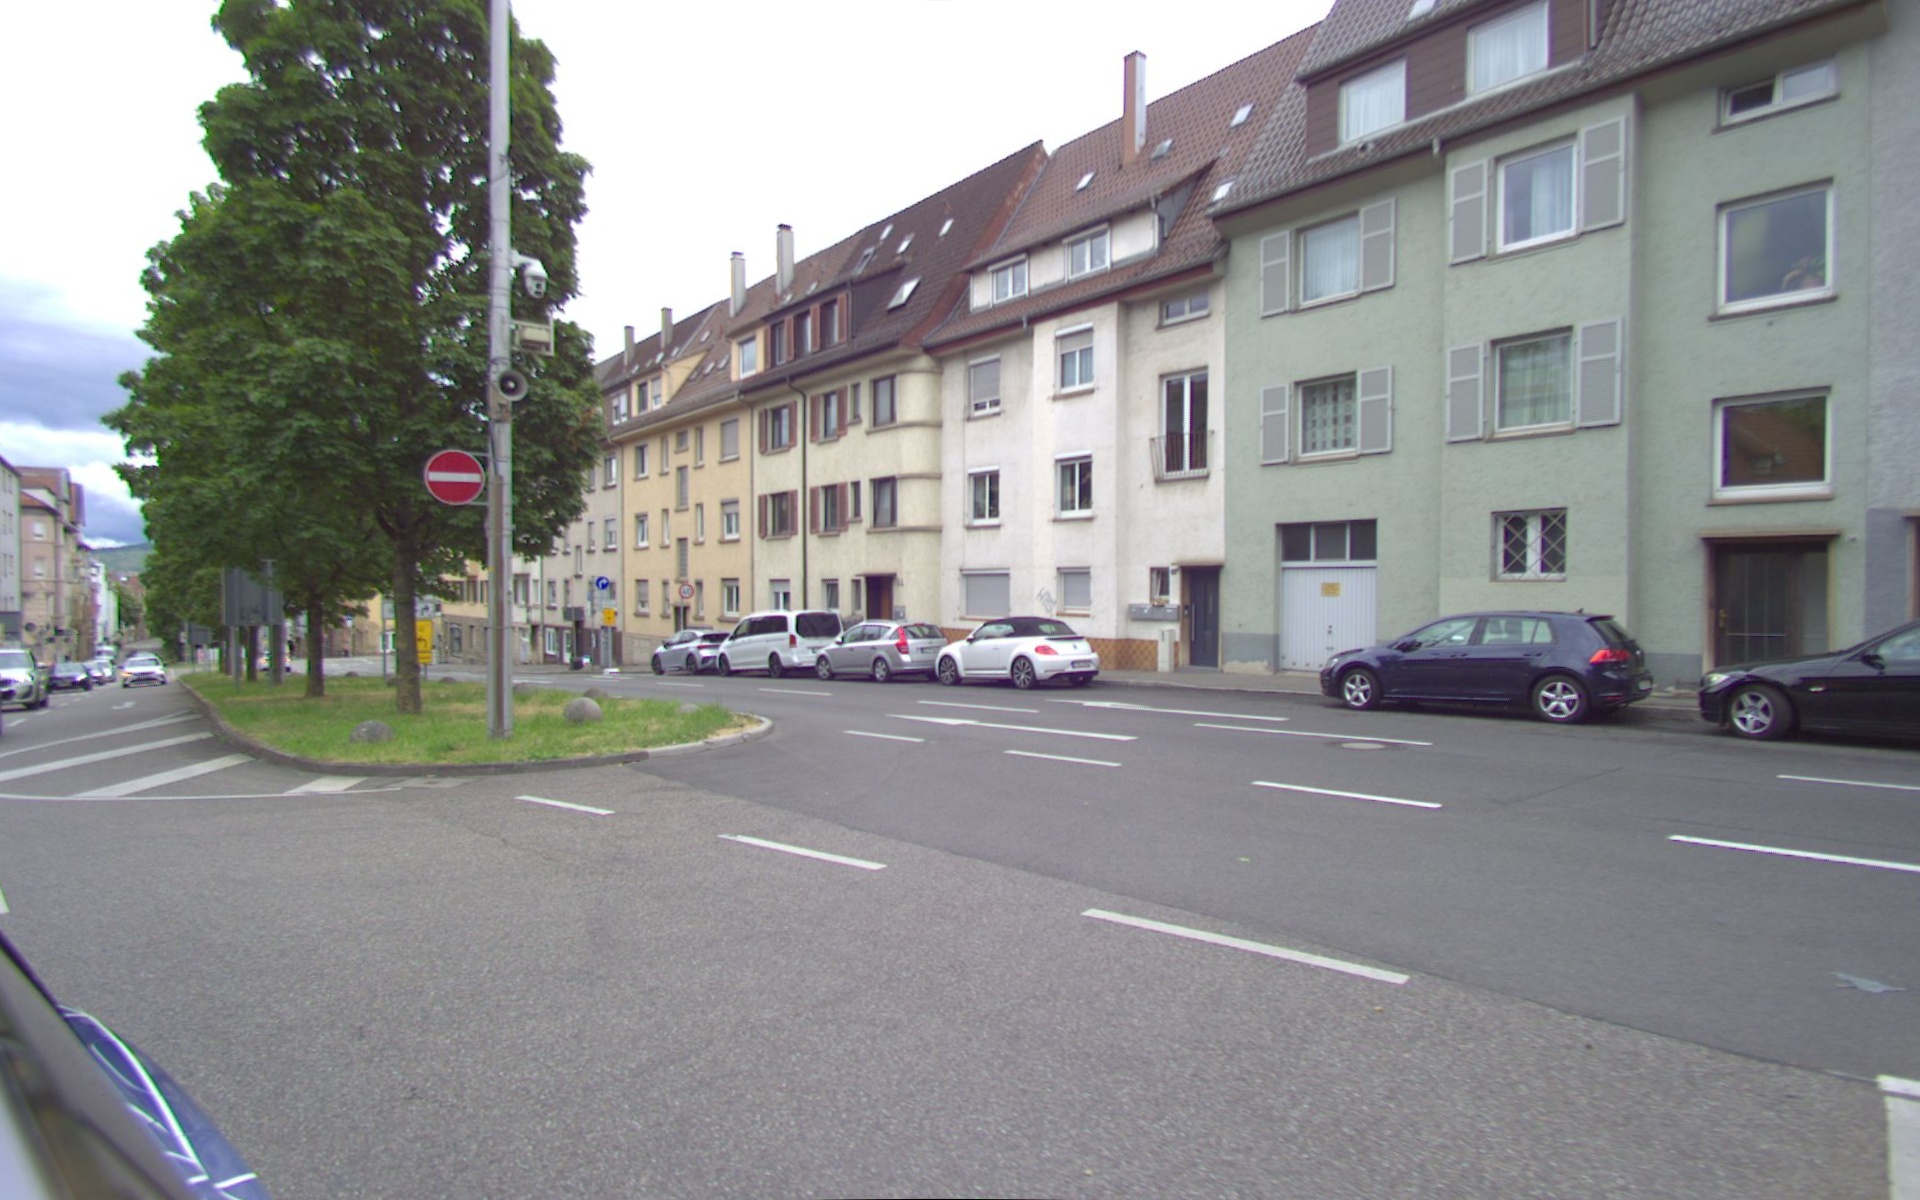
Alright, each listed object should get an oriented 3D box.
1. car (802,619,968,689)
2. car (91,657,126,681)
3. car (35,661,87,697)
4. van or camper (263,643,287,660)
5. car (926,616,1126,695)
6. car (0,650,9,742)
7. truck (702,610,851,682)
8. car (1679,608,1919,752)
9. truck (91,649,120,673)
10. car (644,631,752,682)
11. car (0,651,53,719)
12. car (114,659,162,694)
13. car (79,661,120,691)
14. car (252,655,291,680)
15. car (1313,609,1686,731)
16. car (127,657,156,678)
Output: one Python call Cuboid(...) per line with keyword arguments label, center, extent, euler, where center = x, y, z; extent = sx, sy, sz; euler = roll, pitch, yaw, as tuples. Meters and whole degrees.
Cuboid(label="car", center=(-1.982, 1.359, 25.566), extent=(1.968, 1.564, 4.389), euler=(0, -3, -39))
Cuboid(label="car", center=(-59.815, 4.827, 71.084), extent=(1.757, 1.605, 3.539), euler=(2, -3, -40))
Cuboid(label="car", center=(-43.200, 3.768, 48.702), extent=(1.757, 1.605, 3.539), euler=(2, -3, -40))
Cuboid(label="van or camper", center=(-77.453, 5.799, 114.425), extent=(1.883, 1.775, 4.663), euler=(-1, -2, -38))
Cuboid(label="car", center=(1.317, 1.181, 21.791), extent=(1.968, 1.485, 4.166), euler=(0, -3, -38))
Cuboid(label="car", center=(-15.561, 1.522, 15.187), extent=(1.580, 1.468, 3.690), euler=(-3, -1, -40))
Cuboid(label="truck", center=(-5.574, 1.391, 30.124), extent=(1.968, 1.935, 5.356), euler=(0, -3, -39))
Cuboid(label="car", center=(10.372, 0.775, 10.348), extent=(1.968, 1.411, 4.526), euler=(0, -2, -38))
Cuboid(label="truck", center=(-111.231, 7.993, 131.813), extent=(2.513, 2.930, 7.793), euler=(0, -3, -37))
Cuboid(label="car", center=(-9.010, 1.934, 34.572), extent=(1.968, 1.564, 4.165), euler=(0, -3, -39))
Cuboid(label="car", center=(-25.284, 2.286, 26.691), extent=(1.753, 1.619, 4.170), euler=(-4, -1, -39))
Cuboid(label="car", center=(-40.774, 3.766, 50.176), extent=(1.757, 1.605, 3.539), euler=(2, -3, -40))
Cuboid(label="car", center=(-51.021, 4.481, 60.004), extent=(1.757, 1.605, 3.539), euler=(2, -3, -40))
Cuboid(label="car", center=(-45.497, 4.455, 66.872), extent=(1.723, 1.478, 4.593), euler=(-1, -3, -39))
Cuboid(label="car", center=(7.429, 0.884, 14.254), extent=(1.969, 1.434, 4.217), euler=(0, -1, -42))
Cuboid(label="car", center=(-66.972, 5.510, 82.784), extent=(1.757, 1.605, 3.539), euler=(2, -3, -40))
